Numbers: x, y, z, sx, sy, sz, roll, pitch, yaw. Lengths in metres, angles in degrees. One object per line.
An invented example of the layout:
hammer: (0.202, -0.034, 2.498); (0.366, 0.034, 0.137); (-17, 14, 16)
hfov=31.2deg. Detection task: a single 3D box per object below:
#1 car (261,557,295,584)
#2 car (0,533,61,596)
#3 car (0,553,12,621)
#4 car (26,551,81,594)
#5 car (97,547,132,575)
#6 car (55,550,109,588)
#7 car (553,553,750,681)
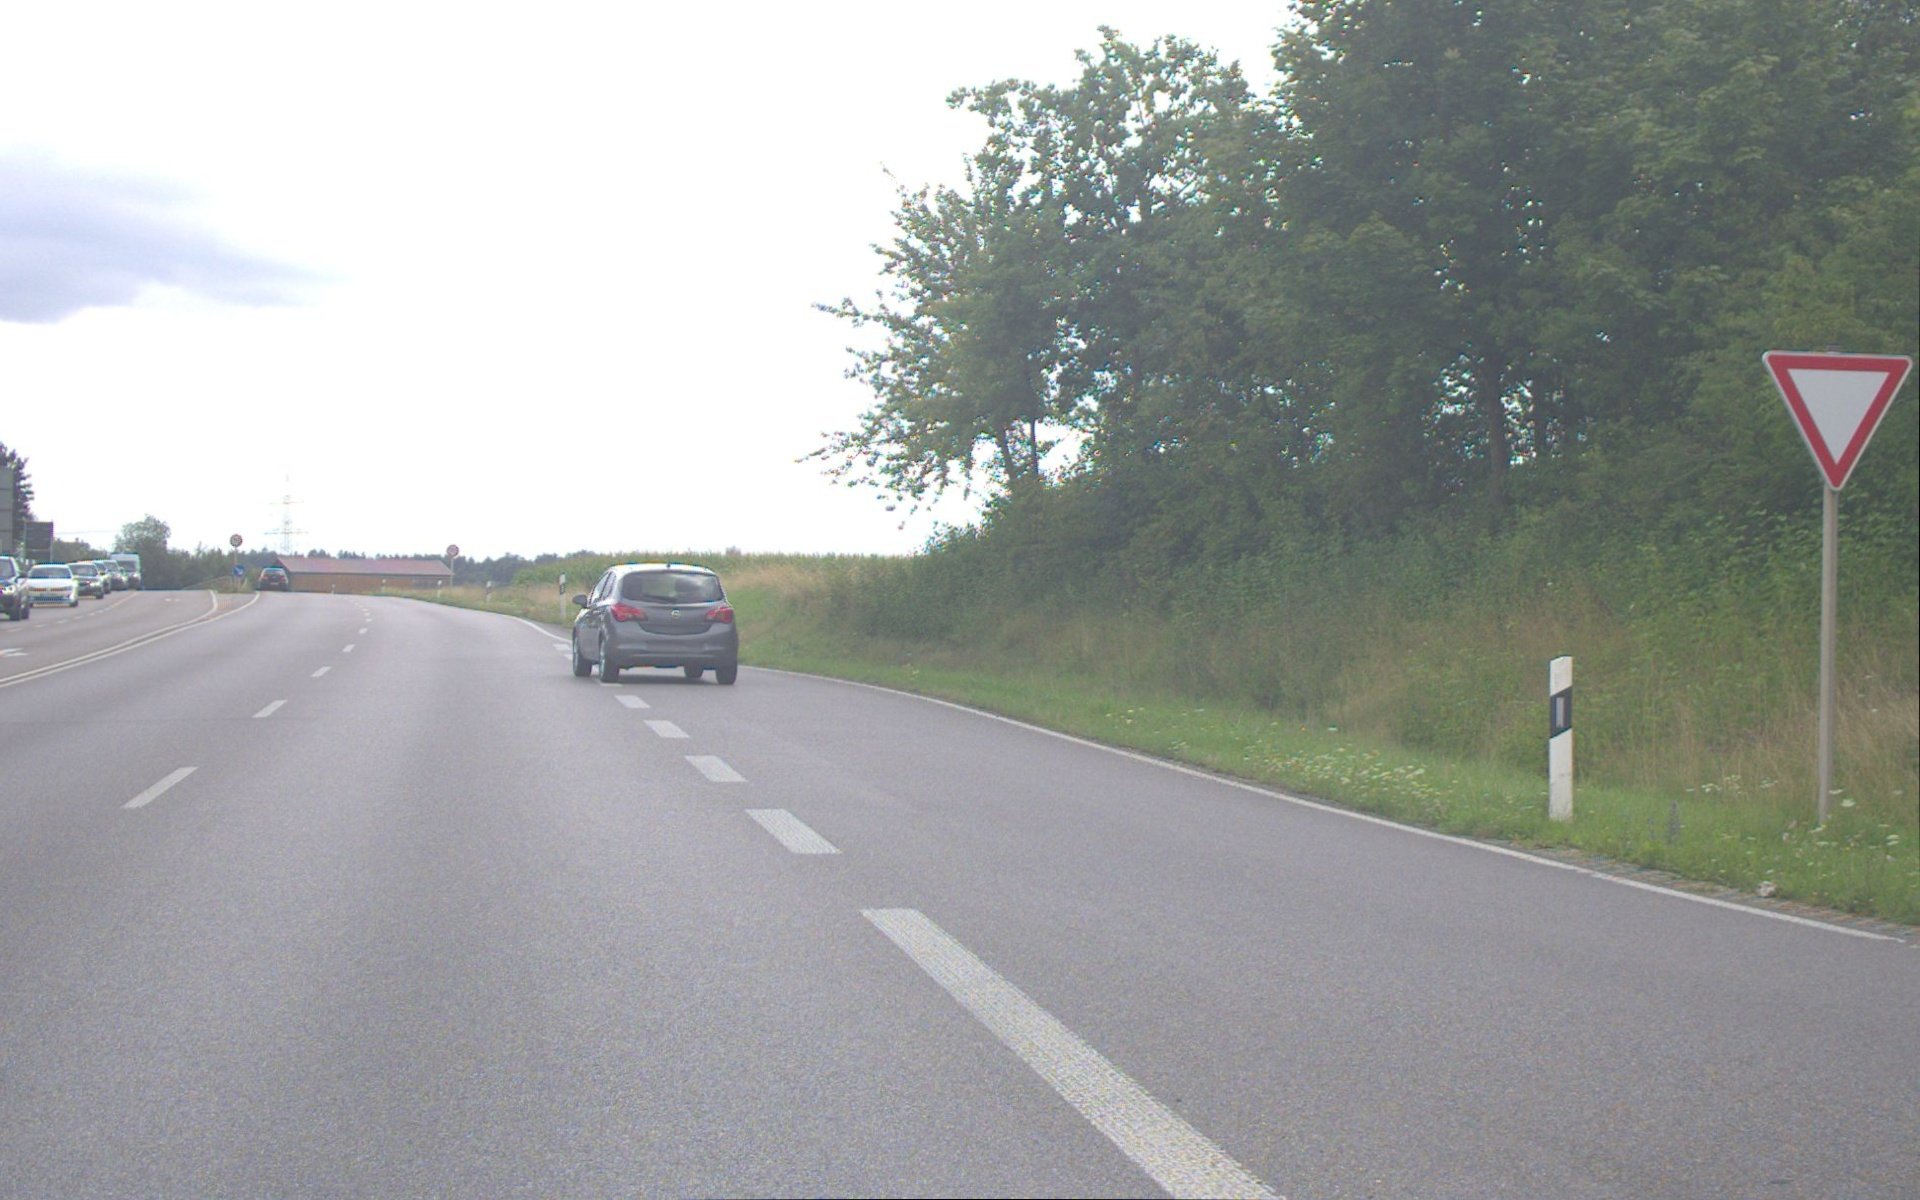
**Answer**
car: (-43.312, -1.882, 218.270); (1.993, 1.709, 4.001); (0, 1, -9)
car: (-24.908, -0.945, 90.340); (1.993, 1.605, 4.994); (0, 1, -9)
car: (-21.944, -0.280, 74.956); (1.993, 1.489, 4.994); (0, 1, -10)
car: (-30.769, -0.938, 116.731); (1.667, 1.437, 4.148); (0, 1, -13)
car: (-44.946, -2.080, 182.781); (1.764, 1.437, 4.001); (0, 1, -13)
car: (-35.312, -1.267, 138.214); (1.993, 1.503, 4.001); (0, 1, -16)
car: (-3.989, 0.188, 43.847); (1.993, 1.530, 4.001); (1, 1, -12)
